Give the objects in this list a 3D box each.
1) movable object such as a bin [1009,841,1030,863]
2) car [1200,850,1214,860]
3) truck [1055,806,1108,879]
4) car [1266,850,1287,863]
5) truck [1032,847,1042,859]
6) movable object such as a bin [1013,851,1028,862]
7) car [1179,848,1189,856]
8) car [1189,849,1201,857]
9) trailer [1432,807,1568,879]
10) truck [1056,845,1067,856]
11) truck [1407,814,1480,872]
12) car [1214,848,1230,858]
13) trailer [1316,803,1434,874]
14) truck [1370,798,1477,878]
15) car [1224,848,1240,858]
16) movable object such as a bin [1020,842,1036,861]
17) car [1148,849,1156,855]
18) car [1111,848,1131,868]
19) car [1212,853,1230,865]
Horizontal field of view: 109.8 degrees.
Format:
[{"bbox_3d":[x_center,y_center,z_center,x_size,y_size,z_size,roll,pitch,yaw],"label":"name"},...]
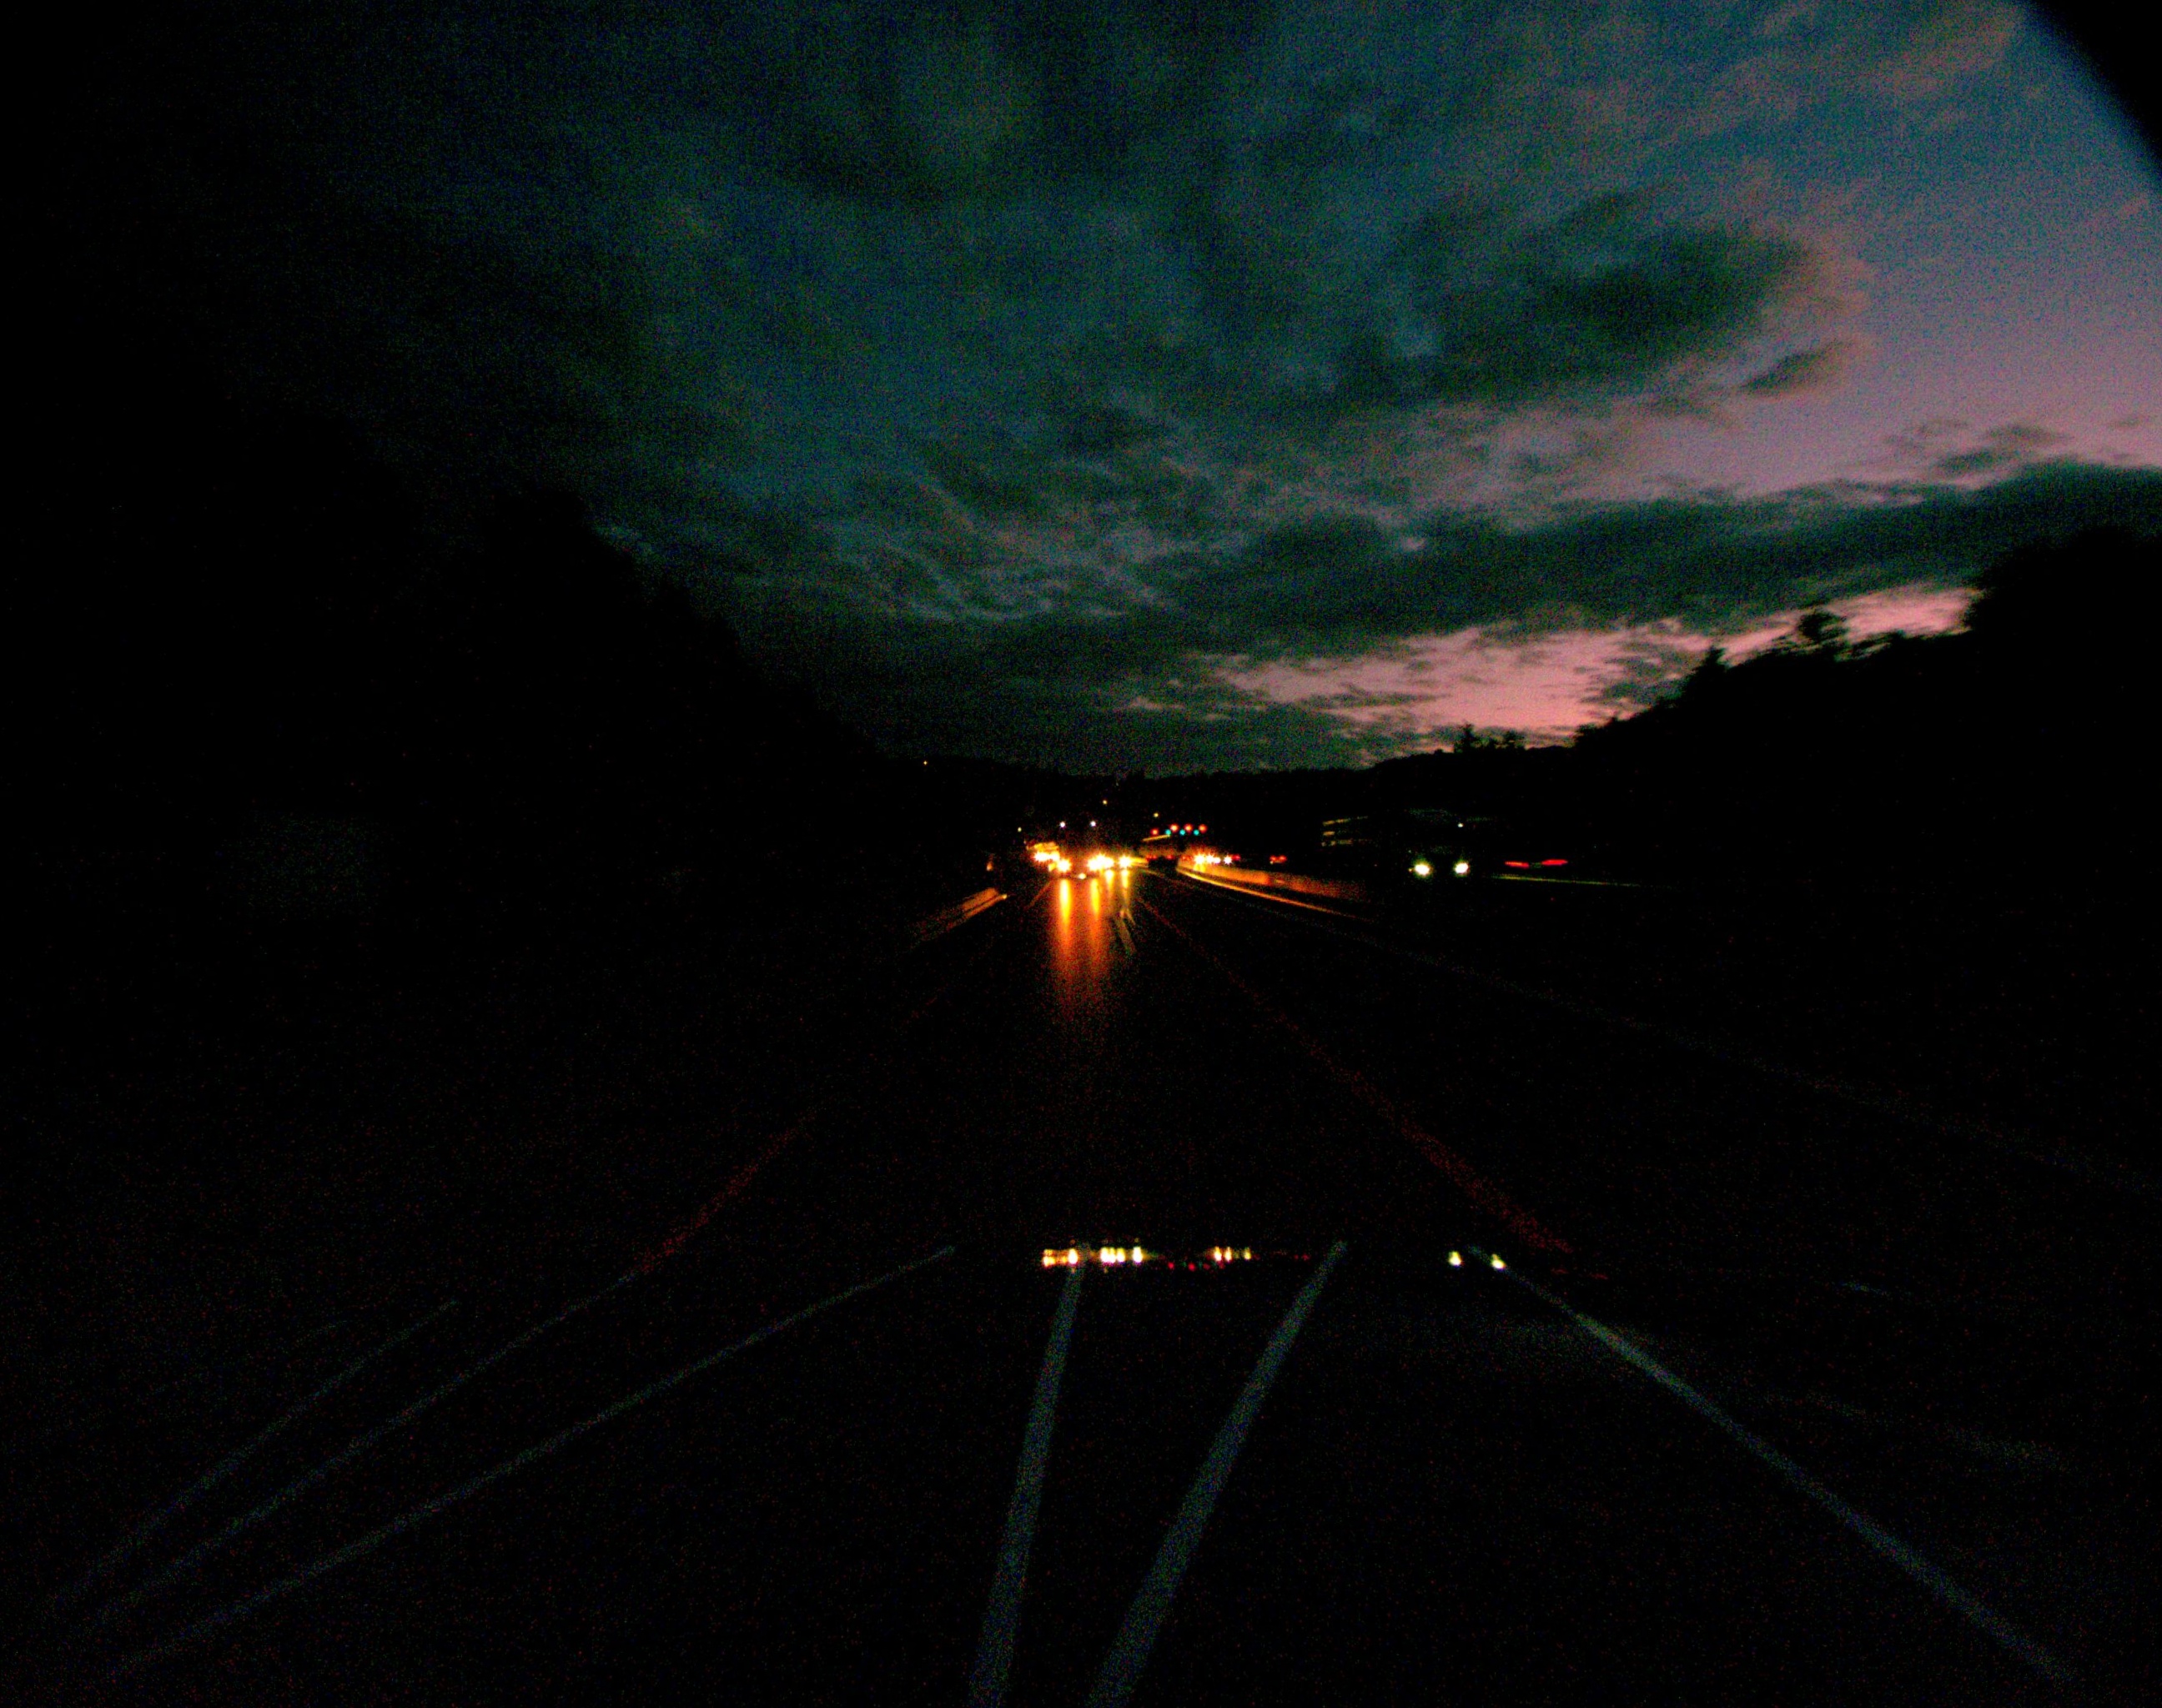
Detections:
[{"bbox_3d":[-8.902,-0.303,110.793,2.628,3.090,5.804,-1,1,-2],"label":"movable object such as a bin"},{"bbox_3d":[19.698,0.198,118.893,1.509,1.472,3.824,-3,1,0],"label":"car"},{"bbox_3d":[-0.061,-0.761,51.375,2.954,4.241,11.050,-3,1,-1],"label":"truck"},{"bbox_3d":[26.048,0.318,101.291,1.595,1.595,5.034,-3,1,2],"label":"car"},{"bbox_3d":[-12.704,-0.189,220.160,2.825,3.267,8.349,-3,1,-2],"label":"truck"},{"bbox_3d":[-9.146,0.383,115.760,1.999,1.592,4.083,0,1,-1],"label":"movable object such as a bin"},{"bbox_3d":[23.926,-0.427,176.046,1.683,1.628,4.751,-3,1,1],"label":"car"},{"bbox_3d":[24.124,-0.230,161.130,1.808,1.628,4.751,-3,1,1],"label":"car"},{"bbox_3d":[27.979,-0.756,51.779,2.785,4.181,12.402,-3,1,3],"label":"trailer"},{"bbox_3d":[-5.234,-0.851,204.073,1.998,2.817,6.297,-3,1,5],"label":"truck"},{"bbox_3d":[28.366,-0.866,59.718,2.783,4.147,6.386,-3,1,3],"label":"truck"},{"bbox_3d":[23.096,-0.174,124.335,1.741,1.628,4.891,-3,1,1],"label":"car"},{"bbox_3d":[18.046,-0.923,47.771,2.806,3.761,11.834,-3,1,1],"label":"trailer"},{"bbox_3d":[17.894,-0.834,40.182,2.809,3.753,6.302,-3,1,2],"label":"truck"},{"bbox_3d":[26.183,-0.159,131.700,1.741,1.628,5.170,-3,1,1],"label":"car"},{"bbox_3d":[-9.313,-0.490,134.181,2.571,3.299,5.577,0,1,-2],"label":"movable object such as a bin"},{"bbox_3d":[21.553,-0.562,231.432,1.905,1.728,4.807,-3,1,1],"label":"car"},{"bbox_3d":[3.606,0.345,67.614,1.662,1.586,3.997,-3,1,4],"label":"car"},{"bbox_3d":[19.288,0.712,104.760,1.792,1.472,3.999,-3,1,0],"label":"car"}]
